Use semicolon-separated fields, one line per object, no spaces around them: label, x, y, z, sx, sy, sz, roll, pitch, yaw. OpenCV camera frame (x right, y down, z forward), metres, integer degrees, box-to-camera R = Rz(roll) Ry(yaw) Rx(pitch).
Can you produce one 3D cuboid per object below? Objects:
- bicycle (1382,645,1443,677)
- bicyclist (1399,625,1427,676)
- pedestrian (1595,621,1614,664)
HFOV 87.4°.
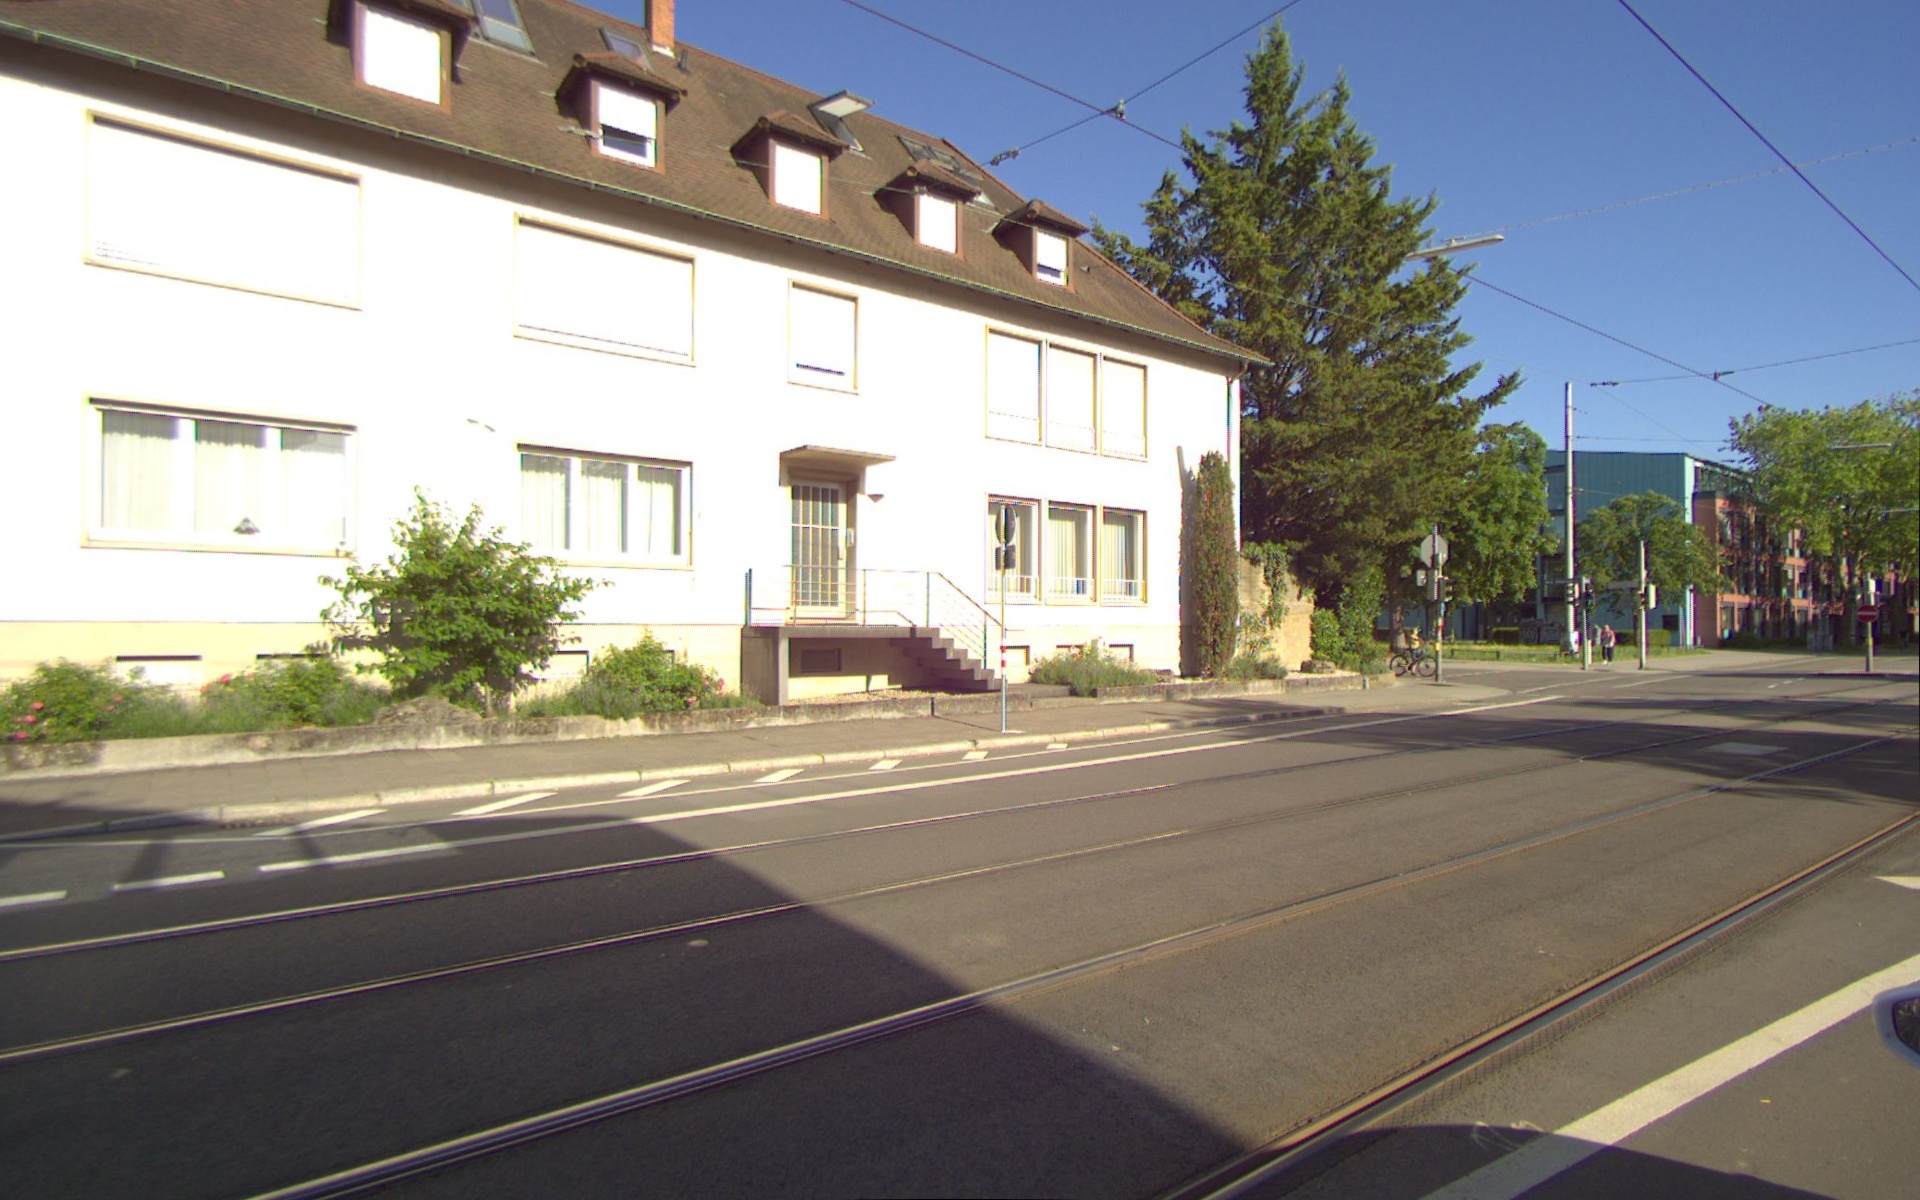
bicycle;15.375;2.073;34.186;0.531;1.028;1.937;1;-2;-29
bicyclist;15.406;1.719;34.142;0.531;1.707;0.676;1;-2;-29
pedestrian;26.471;1.723;41.249;0.601;1.712;0.731;2;1;35
